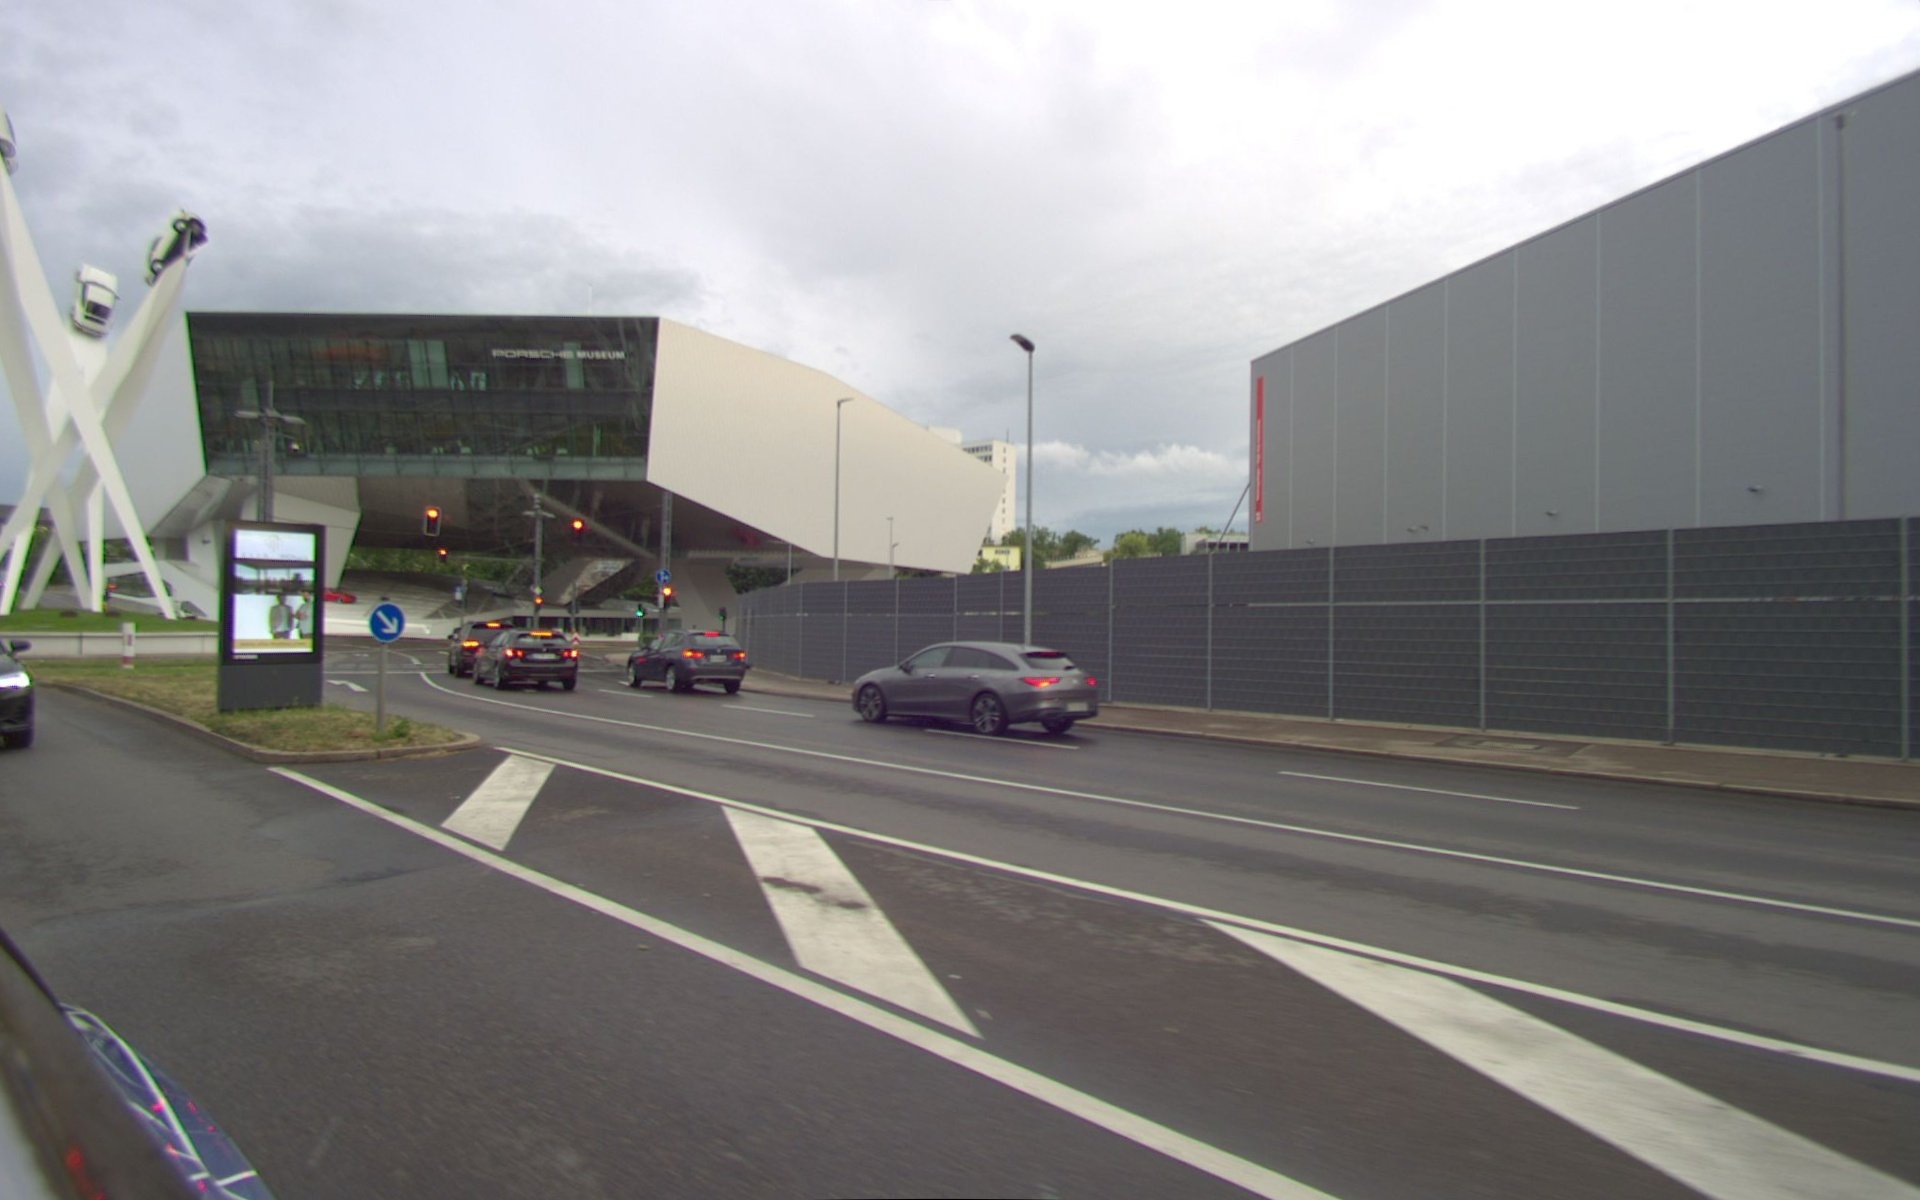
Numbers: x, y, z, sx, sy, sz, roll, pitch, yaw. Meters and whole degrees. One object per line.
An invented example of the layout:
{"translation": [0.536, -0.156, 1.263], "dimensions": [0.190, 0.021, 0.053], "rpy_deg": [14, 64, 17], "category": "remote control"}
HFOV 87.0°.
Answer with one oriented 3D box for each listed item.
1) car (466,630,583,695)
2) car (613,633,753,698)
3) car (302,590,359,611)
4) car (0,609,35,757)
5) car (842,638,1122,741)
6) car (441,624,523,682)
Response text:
{"translation": [-10.838, 1.476, 25.018], "dimensions": [1.759, 1.451, 4.406], "rpy_deg": [2, -2, -35], "category": "car"}
{"translation": [-7.121, 1.609, 25.685], "dimensions": [1.760, 1.465, 4.569], "rpy_deg": [3, -3, -38], "category": "car"}
{"translation": [-60.597, 0.034, 97.455], "dimensions": [4.188, 1.394, 2.000], "rpy_deg": [8, 0, 0], "category": "car"}
{"translation": [-12.042, 0.899, 11.445], "dimensions": [4.390, 1.529, 1.735], "rpy_deg": [-1, 0, 39], "category": "car"}
{"translation": [0.228, 1.371, 16.412], "dimensions": [4.548, 1.396, 1.762], "rpy_deg": [-1, -5, 45], "category": "car"}
{"translation": [-14.495, 1.535, 30.533], "dimensions": [1.758, 1.600, 4.579], "rpy_deg": [1, -2, -31], "category": "car"}
